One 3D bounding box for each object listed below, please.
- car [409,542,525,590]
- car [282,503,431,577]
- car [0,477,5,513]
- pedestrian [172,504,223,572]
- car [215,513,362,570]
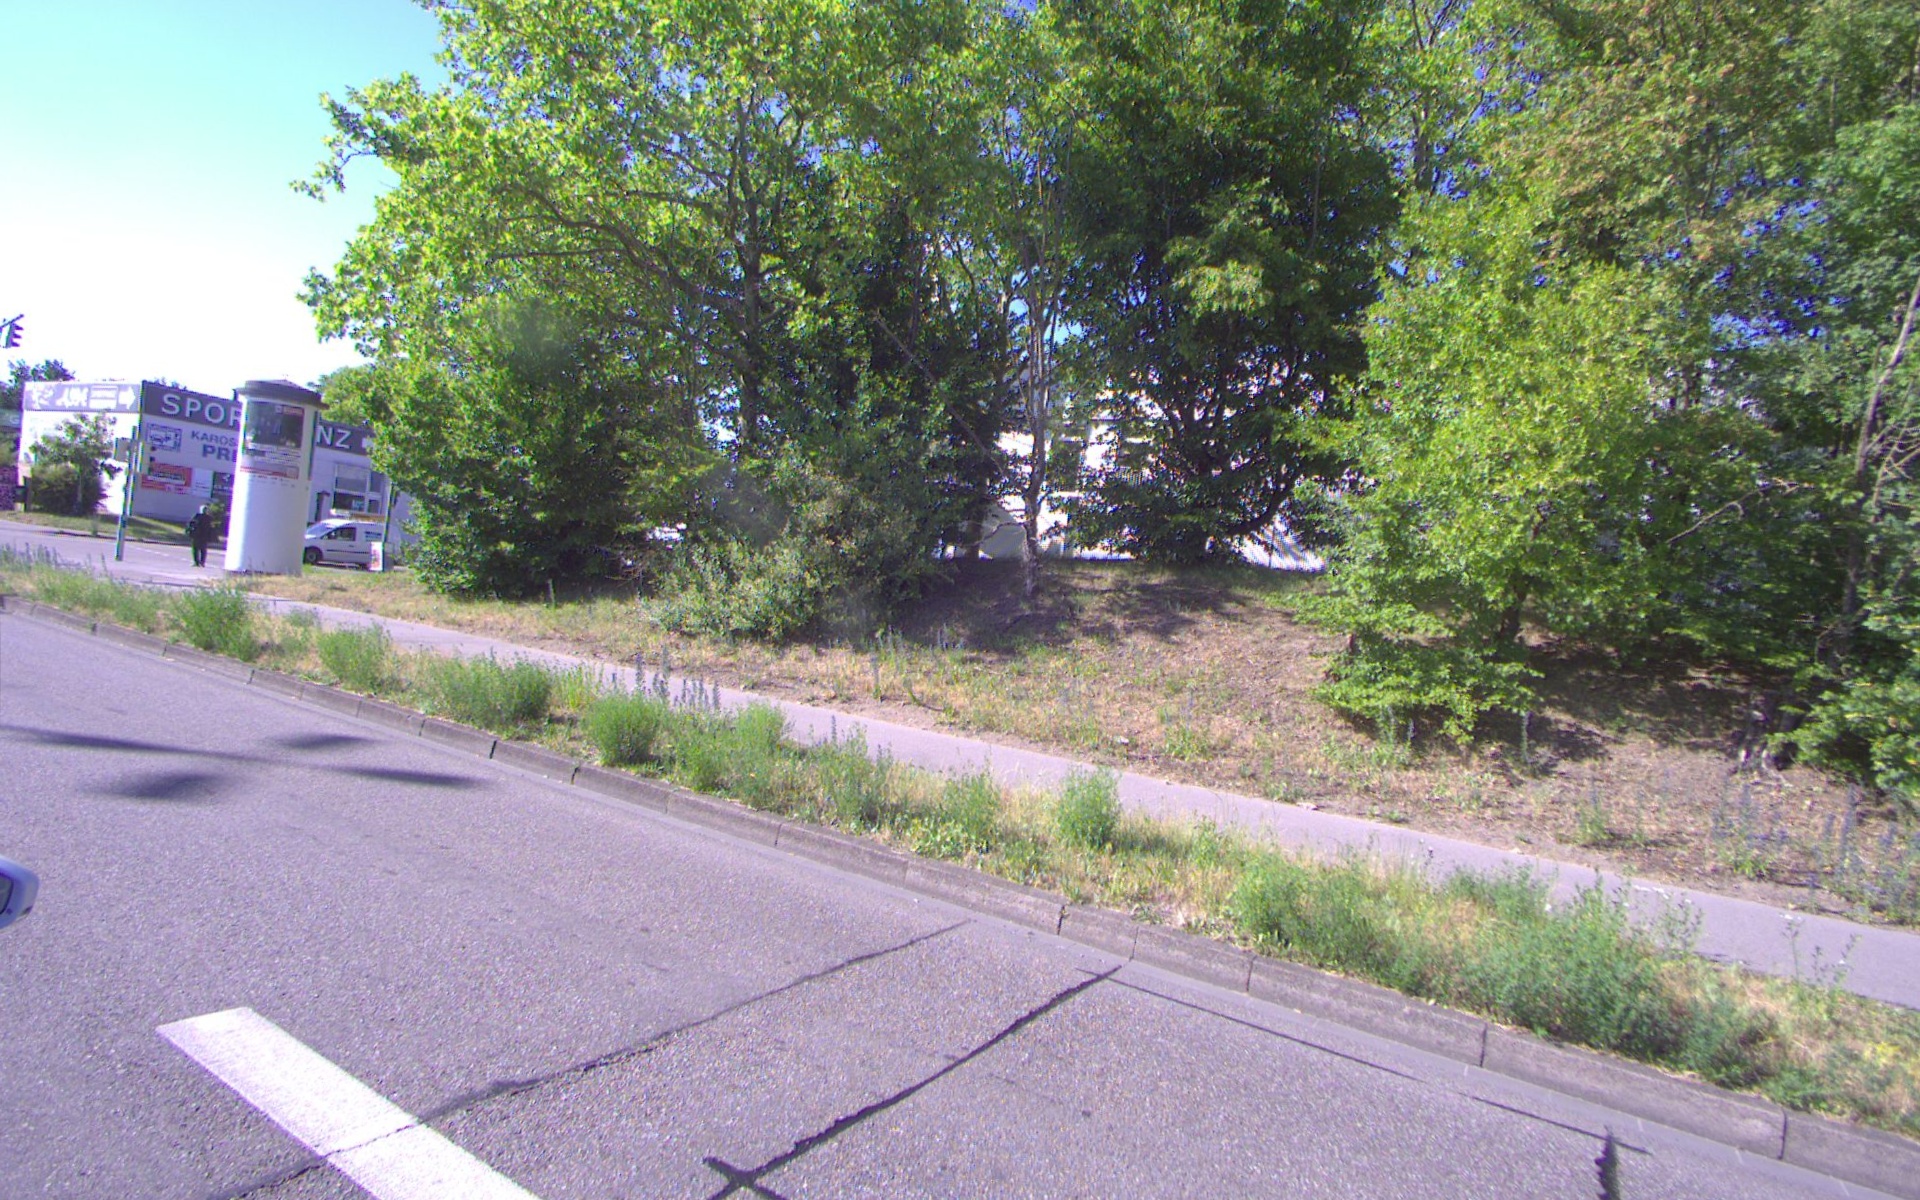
[{"bbox_3d":[-22.833,-1.547,46.761,1.965,1.571,4.415,7,-1,28],"label":"car"},{"bbox_3d":[-23.391,-2.295,39.178,1.965,2.171,4.415,7,-1,28],"label":"car"},{"bbox_3d":[-48.290,-5.352,47.688,1.663,1.726,4.003,7,-1,16],"label":"car"},{"bbox_3d":[-21.232,-1.728,28.021,0.841,1.743,0.822,7,0,39],"label":"pedestrian"},{"bbox_3d":[-26.833,-2.290,40.350,1.965,1.571,4.415,7,-1,28],"label":"car"}]
